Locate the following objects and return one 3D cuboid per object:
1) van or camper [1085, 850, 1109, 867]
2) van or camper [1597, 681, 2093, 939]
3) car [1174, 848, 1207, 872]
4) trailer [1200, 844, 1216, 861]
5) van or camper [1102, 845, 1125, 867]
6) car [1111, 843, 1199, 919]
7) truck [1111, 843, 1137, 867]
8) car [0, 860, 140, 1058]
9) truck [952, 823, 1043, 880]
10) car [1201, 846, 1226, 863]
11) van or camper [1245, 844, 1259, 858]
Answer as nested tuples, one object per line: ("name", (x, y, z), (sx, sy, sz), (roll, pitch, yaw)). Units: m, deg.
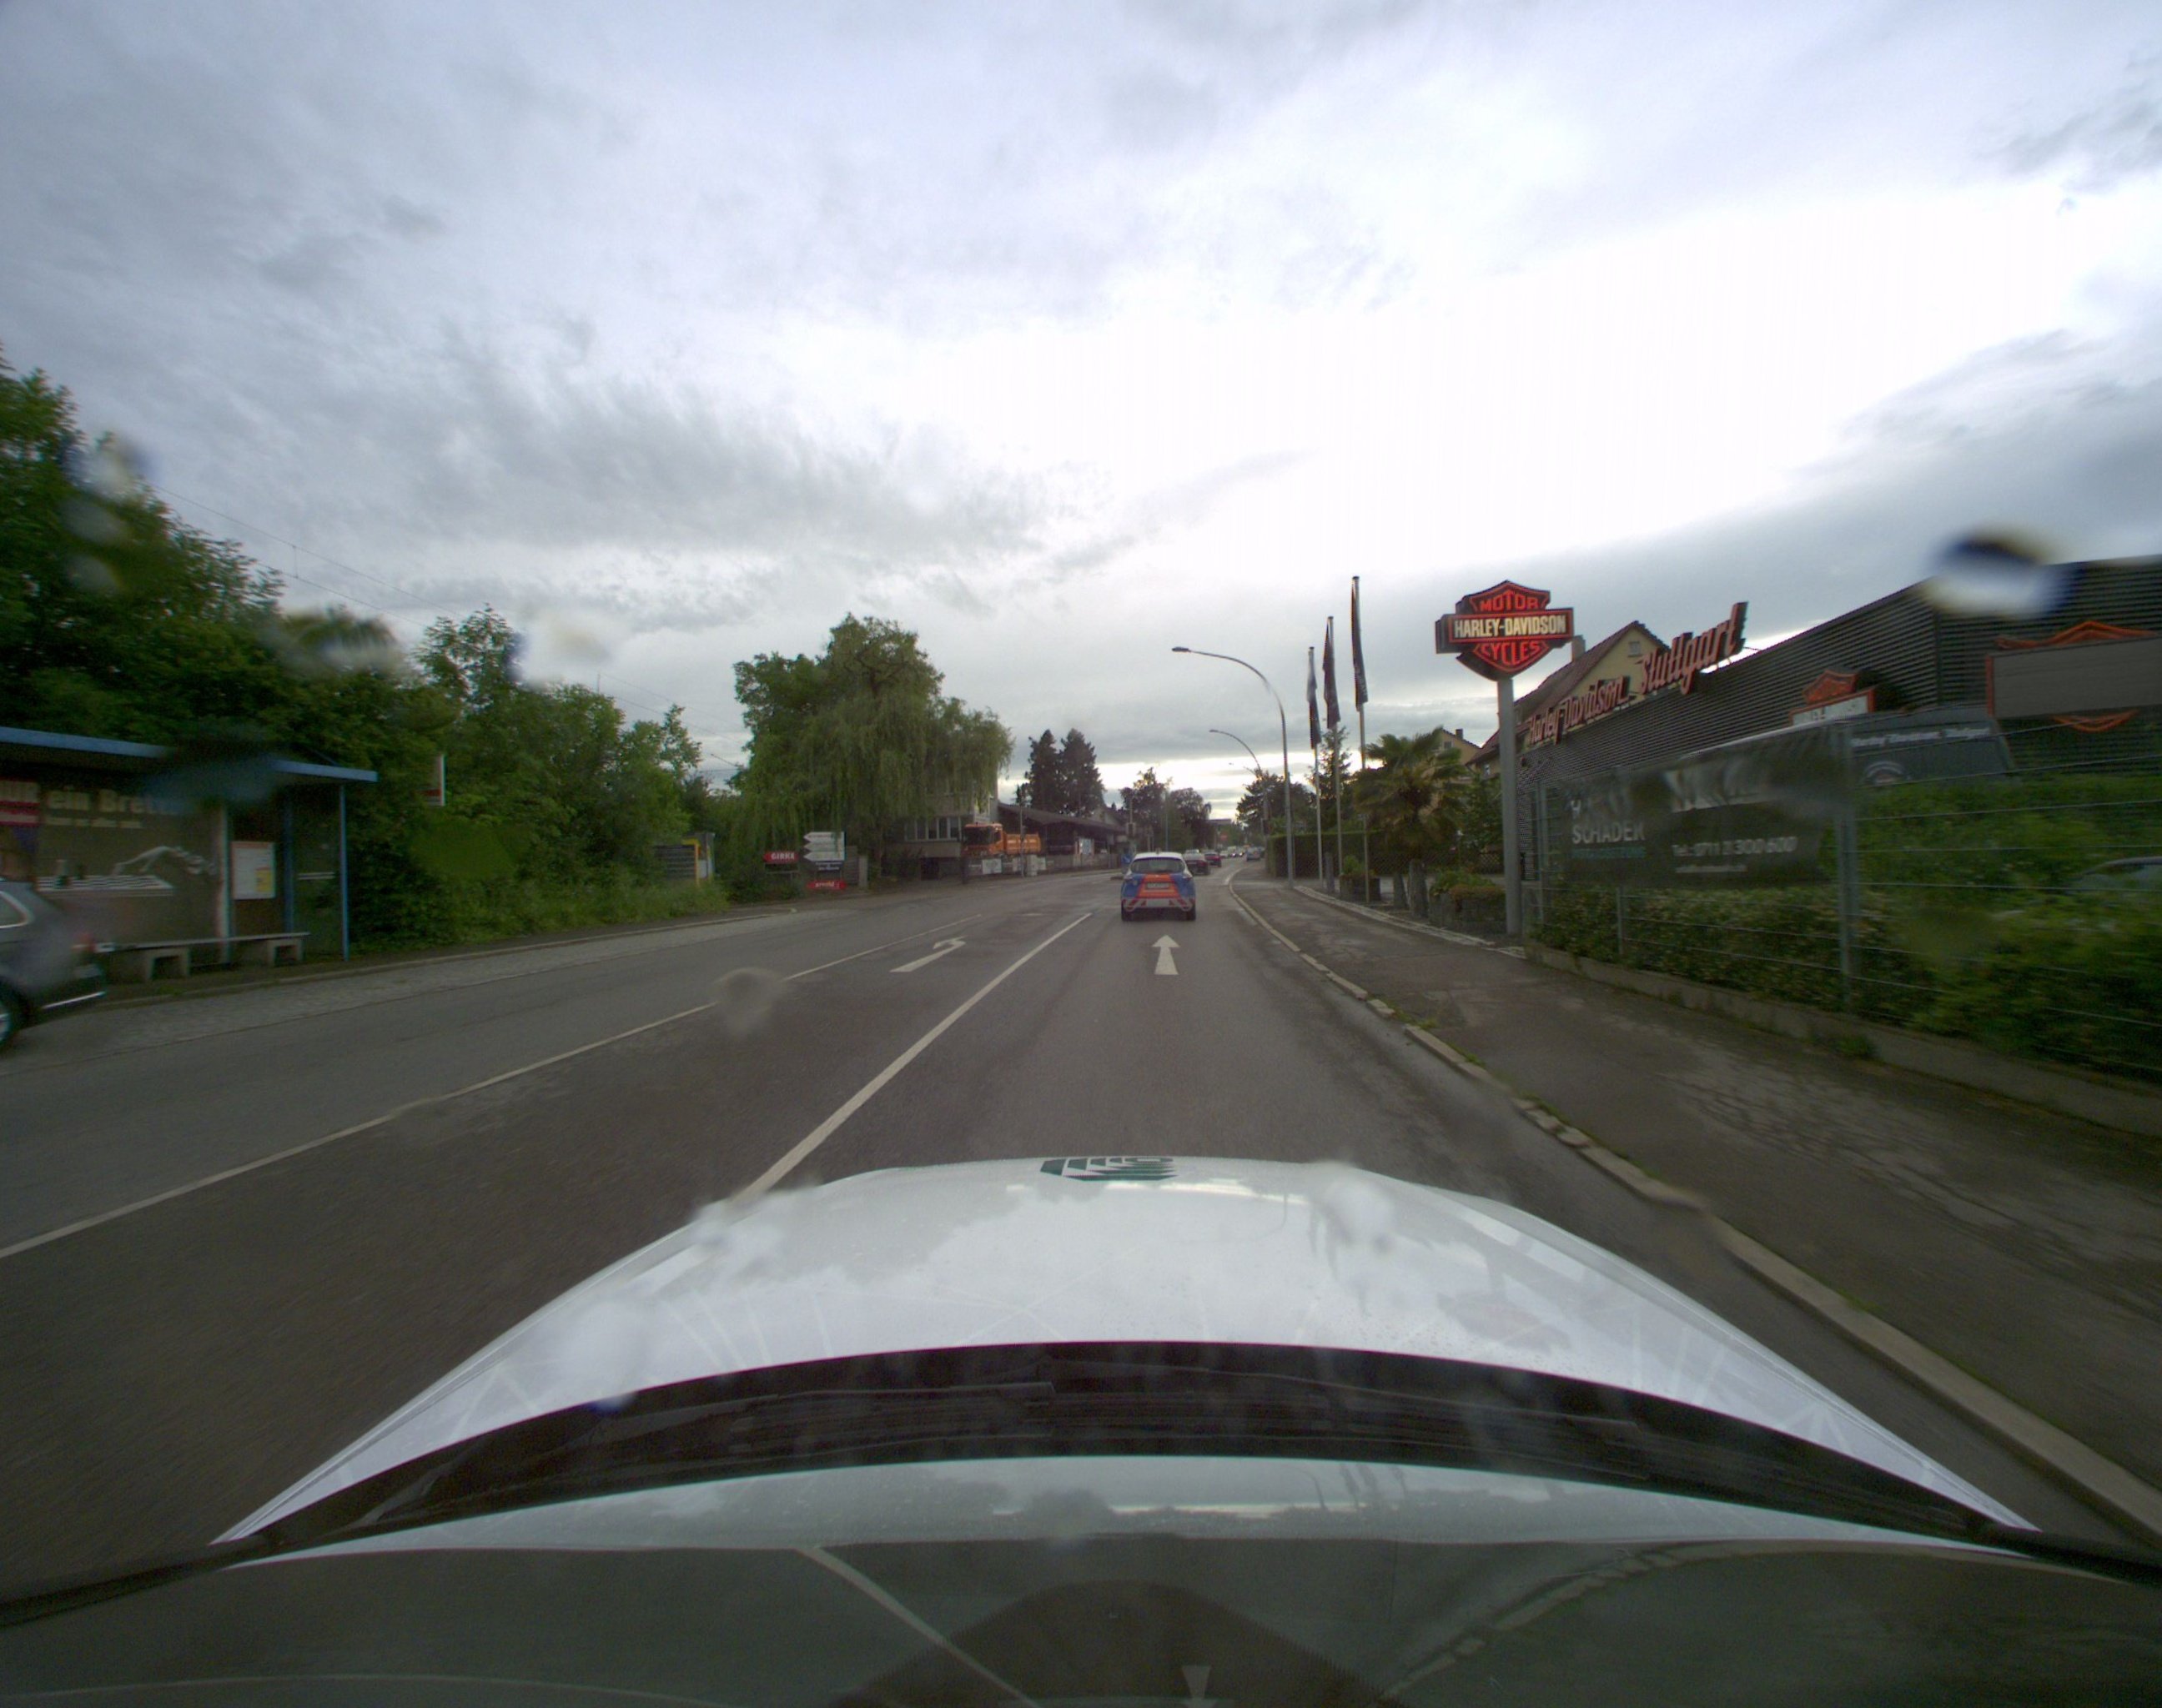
("van or camper", (1.921, 0.529, 95.415), (1.980, 1.909, 4.486), (1, 0, 12))
("van or camper", (9.908, -0.429, 11.678), (2.027, 2.593, 6.612), (-2, 0, 12))
("car", (6.871, 0.420, 51.302), (1.713, 1.376, 3.936), (1, -2, 3))
("trailer", (22.073, -0.274, 141.827), (2.206, 2.012, 4.454), (-10, 4, 12))
("van or camper", (4.129, 0.296, 102.002), (1.846, 2.438, 5.251), (1, -2, 13))
("car", (1.844, 0.598, 20.006), (1.879, 1.632, 4.007), (-2, 0, 6))
("truck", (5.729, 0.181, 107.528), (2.377, 2.927, 5.979), (1, -1, 14))
("car", (-9.383, 0.825, 4.818), (1.985, 1.474, 4.705), (1, 1, 4))
("truck", (-5.356, -0.018, 54.470), (2.677, 3.412, 9.109), (1, -2, 17))
("car", (12.603, 0.065, 77.090), (1.979, 1.420, 4.014), (1, -2, 14))
("van or camper", (23.530, -0.439, 111.946), (1.742, 1.883, 4.014), (-2, 0, 12))
